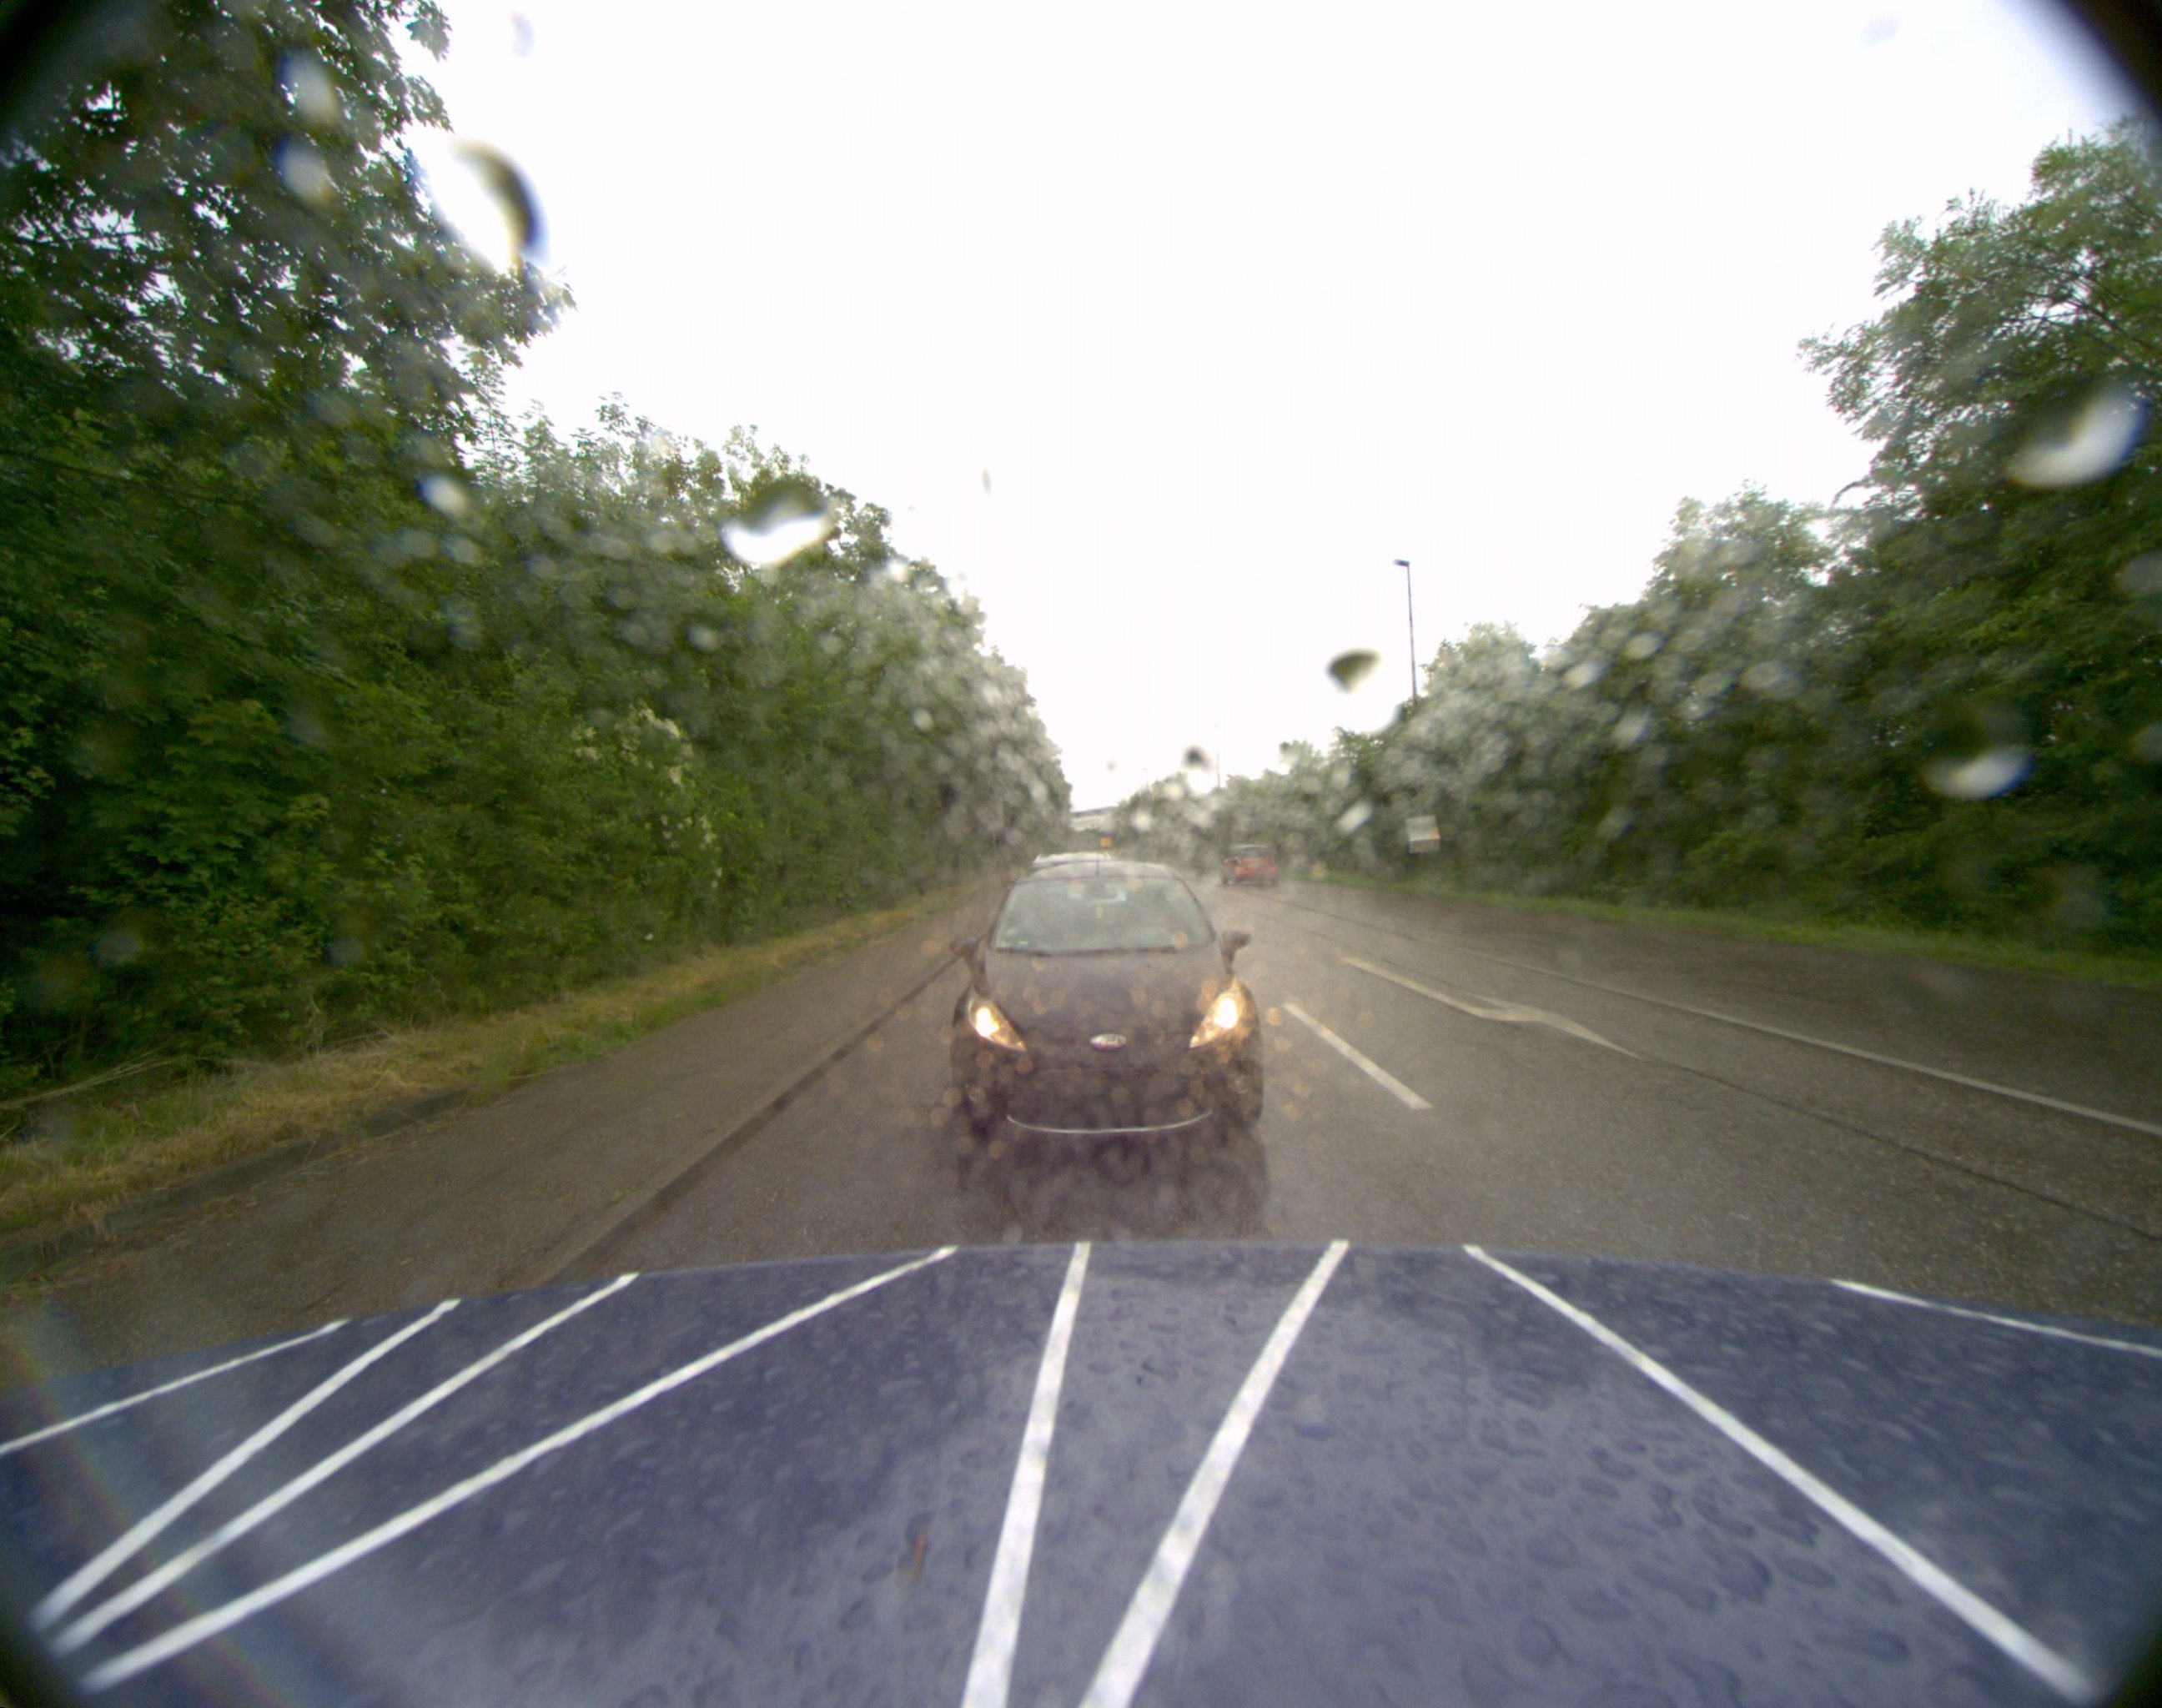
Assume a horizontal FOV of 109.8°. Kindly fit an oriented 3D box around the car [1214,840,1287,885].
[{"bbox_3d":[6.599,0.286,30.027,1.998,1.576,3.999,-2,1,1],"label":"car"}]

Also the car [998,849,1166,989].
[{"bbox_3d":[0.034,0.787,11.291,1.998,1.576,3.999,-2,1,1],"label":"car"}]

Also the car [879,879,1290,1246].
[{"bbox_3d":[0.044,1.035,5.659,1.839,1.404,4.341,-2,1,1],"label":"car"}]

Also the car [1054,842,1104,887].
[{"bbox_3d":[-0.072,0.405,33.090,1.998,1.778,4.000,-2,0,0],"label":"car"}]
